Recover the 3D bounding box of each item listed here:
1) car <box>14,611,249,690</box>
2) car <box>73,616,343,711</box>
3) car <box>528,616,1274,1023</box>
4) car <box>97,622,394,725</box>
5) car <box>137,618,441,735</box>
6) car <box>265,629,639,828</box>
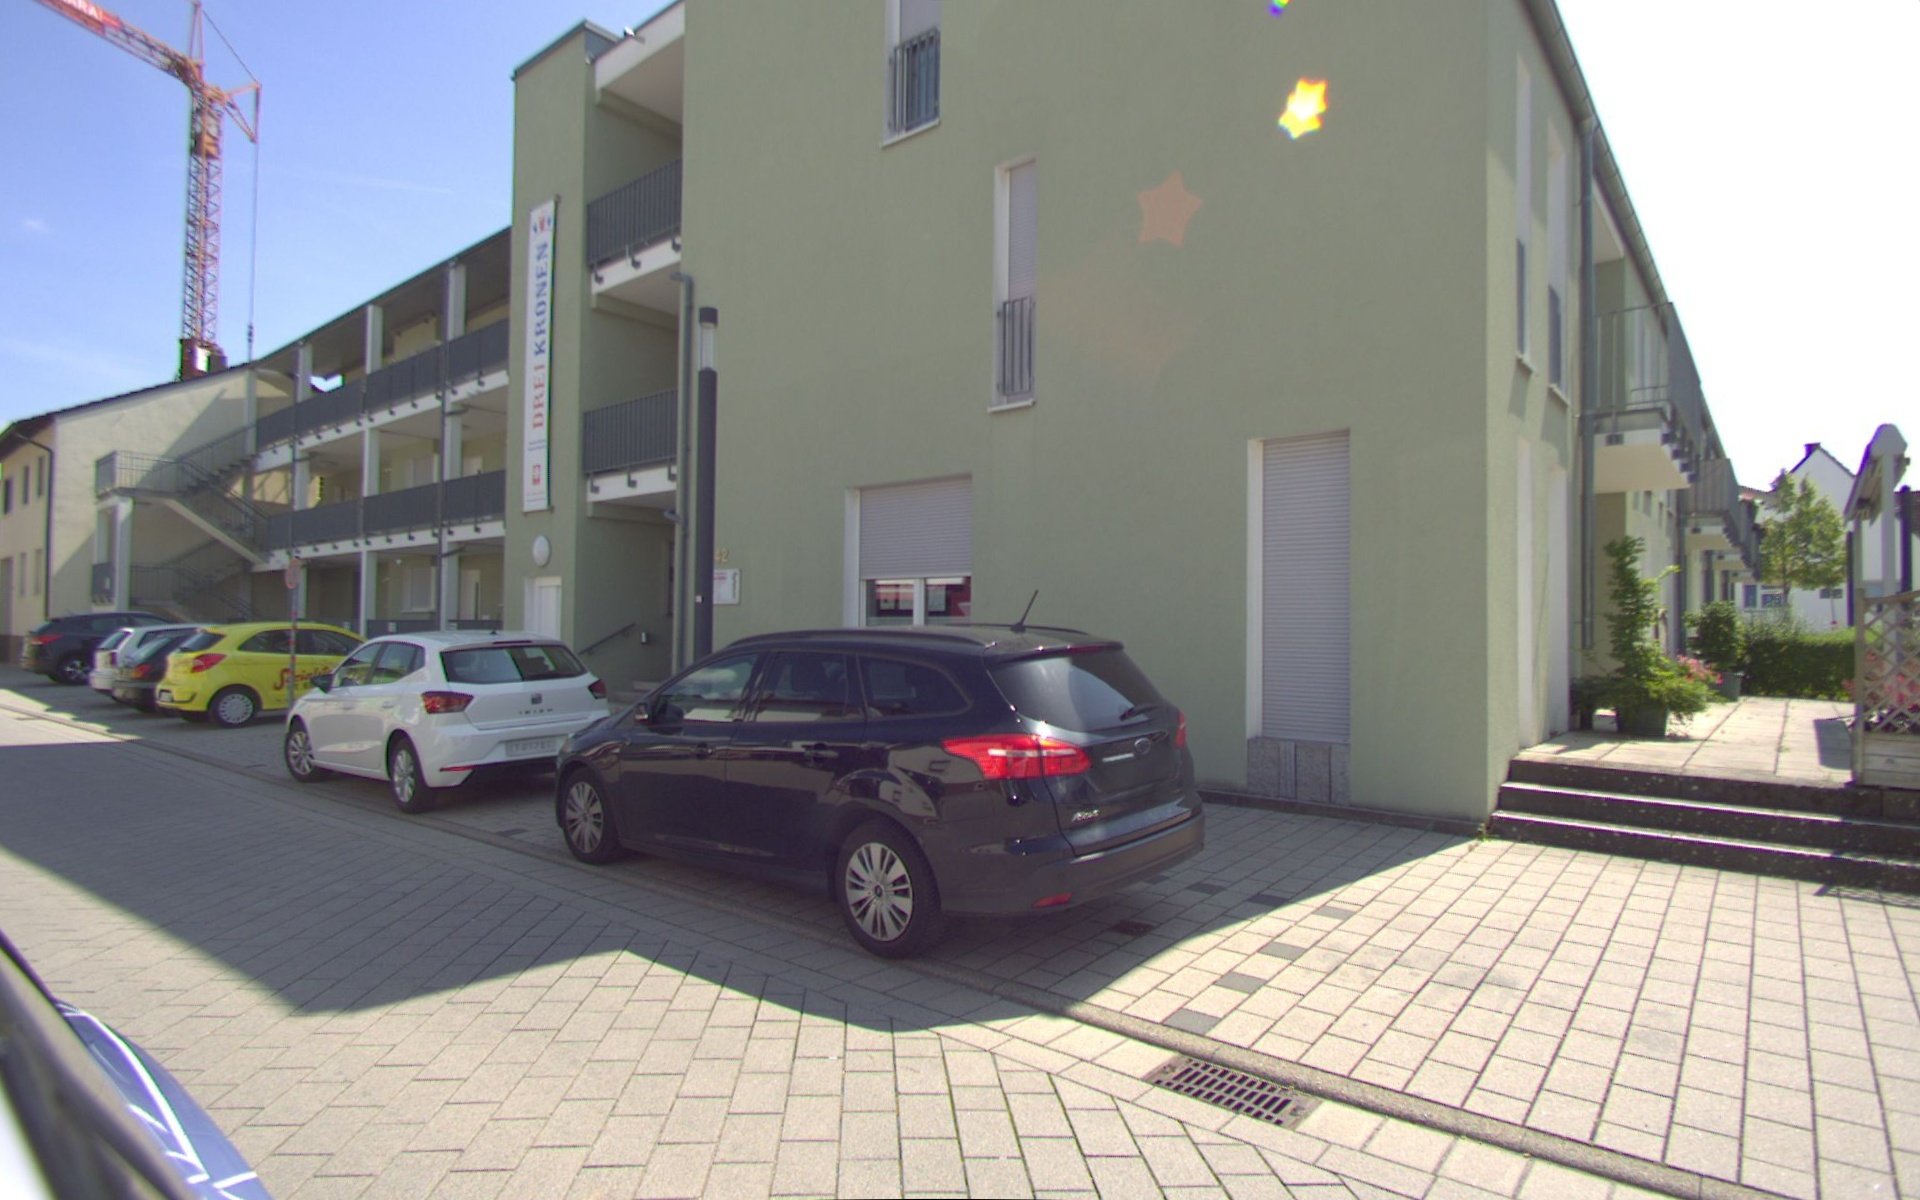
[{"bbox_3d":[-19.946,1.135,24.502,1.783,1.671,4.176,-1,0,41],"label":"car"},{"bbox_3d":[-14.306,1.132,19.408,1.750,1.514,3.860,-1,0,41],"label":"car"},{"bbox_3d":[-0.602,0.869,5.872,4.274,1.502,1.795,-1,-1,40],"label":"car"},{"bbox_3d":[-12.390,1.186,17.755,1.690,1.452,3.947,-1,0,40],"label":"car"},{"bbox_3d":[-10.484,1.104,16.034,1.669,1.537,3.659,-1,0,36],"label":"car"},{"bbox_3d":[-4.846,1.009,9.432,3.875,1.421,1.740,-1,-1,40],"label":"car"}]
